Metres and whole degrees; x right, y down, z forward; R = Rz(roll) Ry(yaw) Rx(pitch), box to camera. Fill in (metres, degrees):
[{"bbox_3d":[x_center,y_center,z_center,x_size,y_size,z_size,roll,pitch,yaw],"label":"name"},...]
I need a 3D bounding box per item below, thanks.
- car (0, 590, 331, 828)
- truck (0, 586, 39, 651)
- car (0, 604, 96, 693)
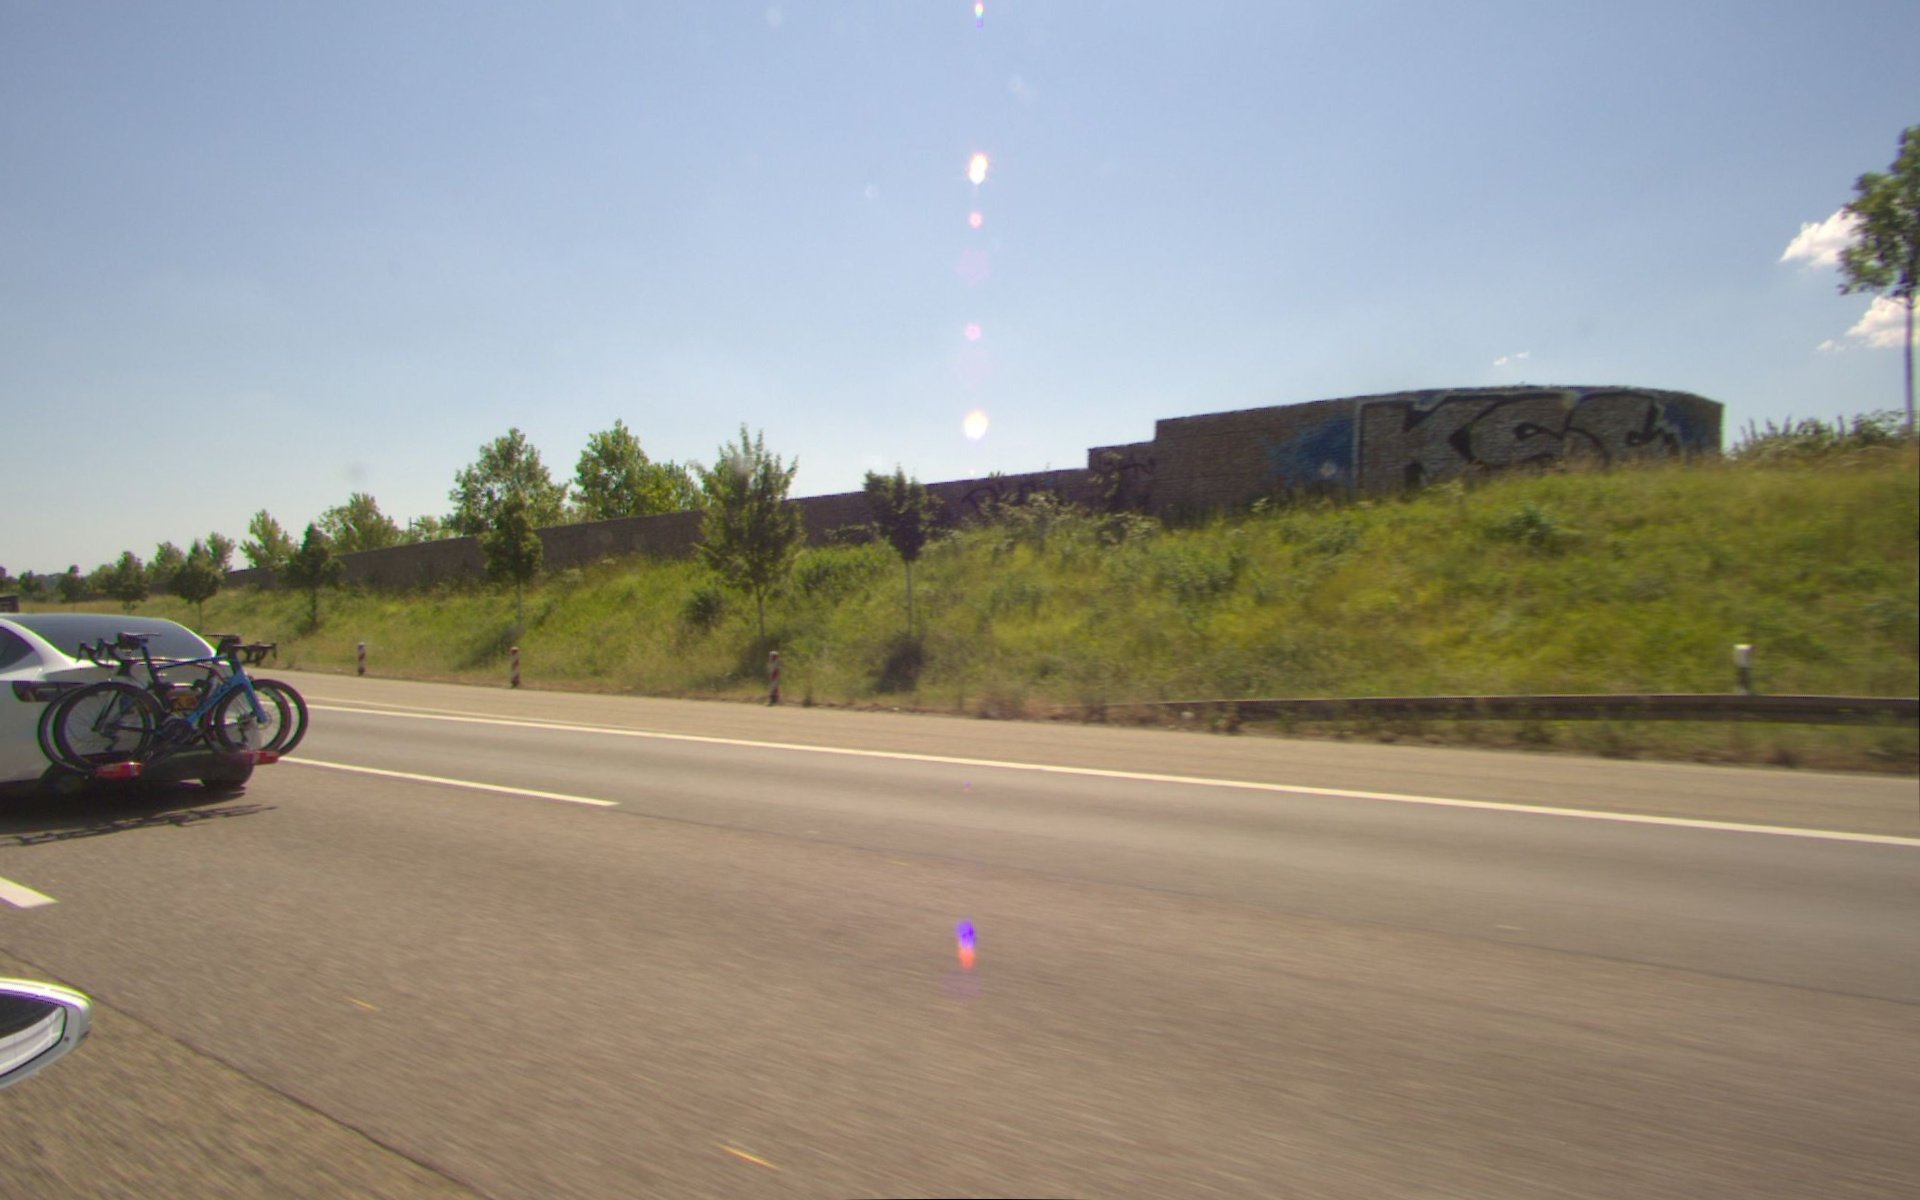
[{"bbox_3d":[-8.294,0.843,9.275,5.519,1.657,1.948,-1,-2,32],"label":"car"},{"bbox_3d":[-65.494,1.306,67.828,12.388,4.134,3.768,-2,-3,44],"label":"truck"},{"bbox_3d":[-21.555,1.044,22.563,4.116,1.862,1.947,-1,0,31],"label":"car"}]
